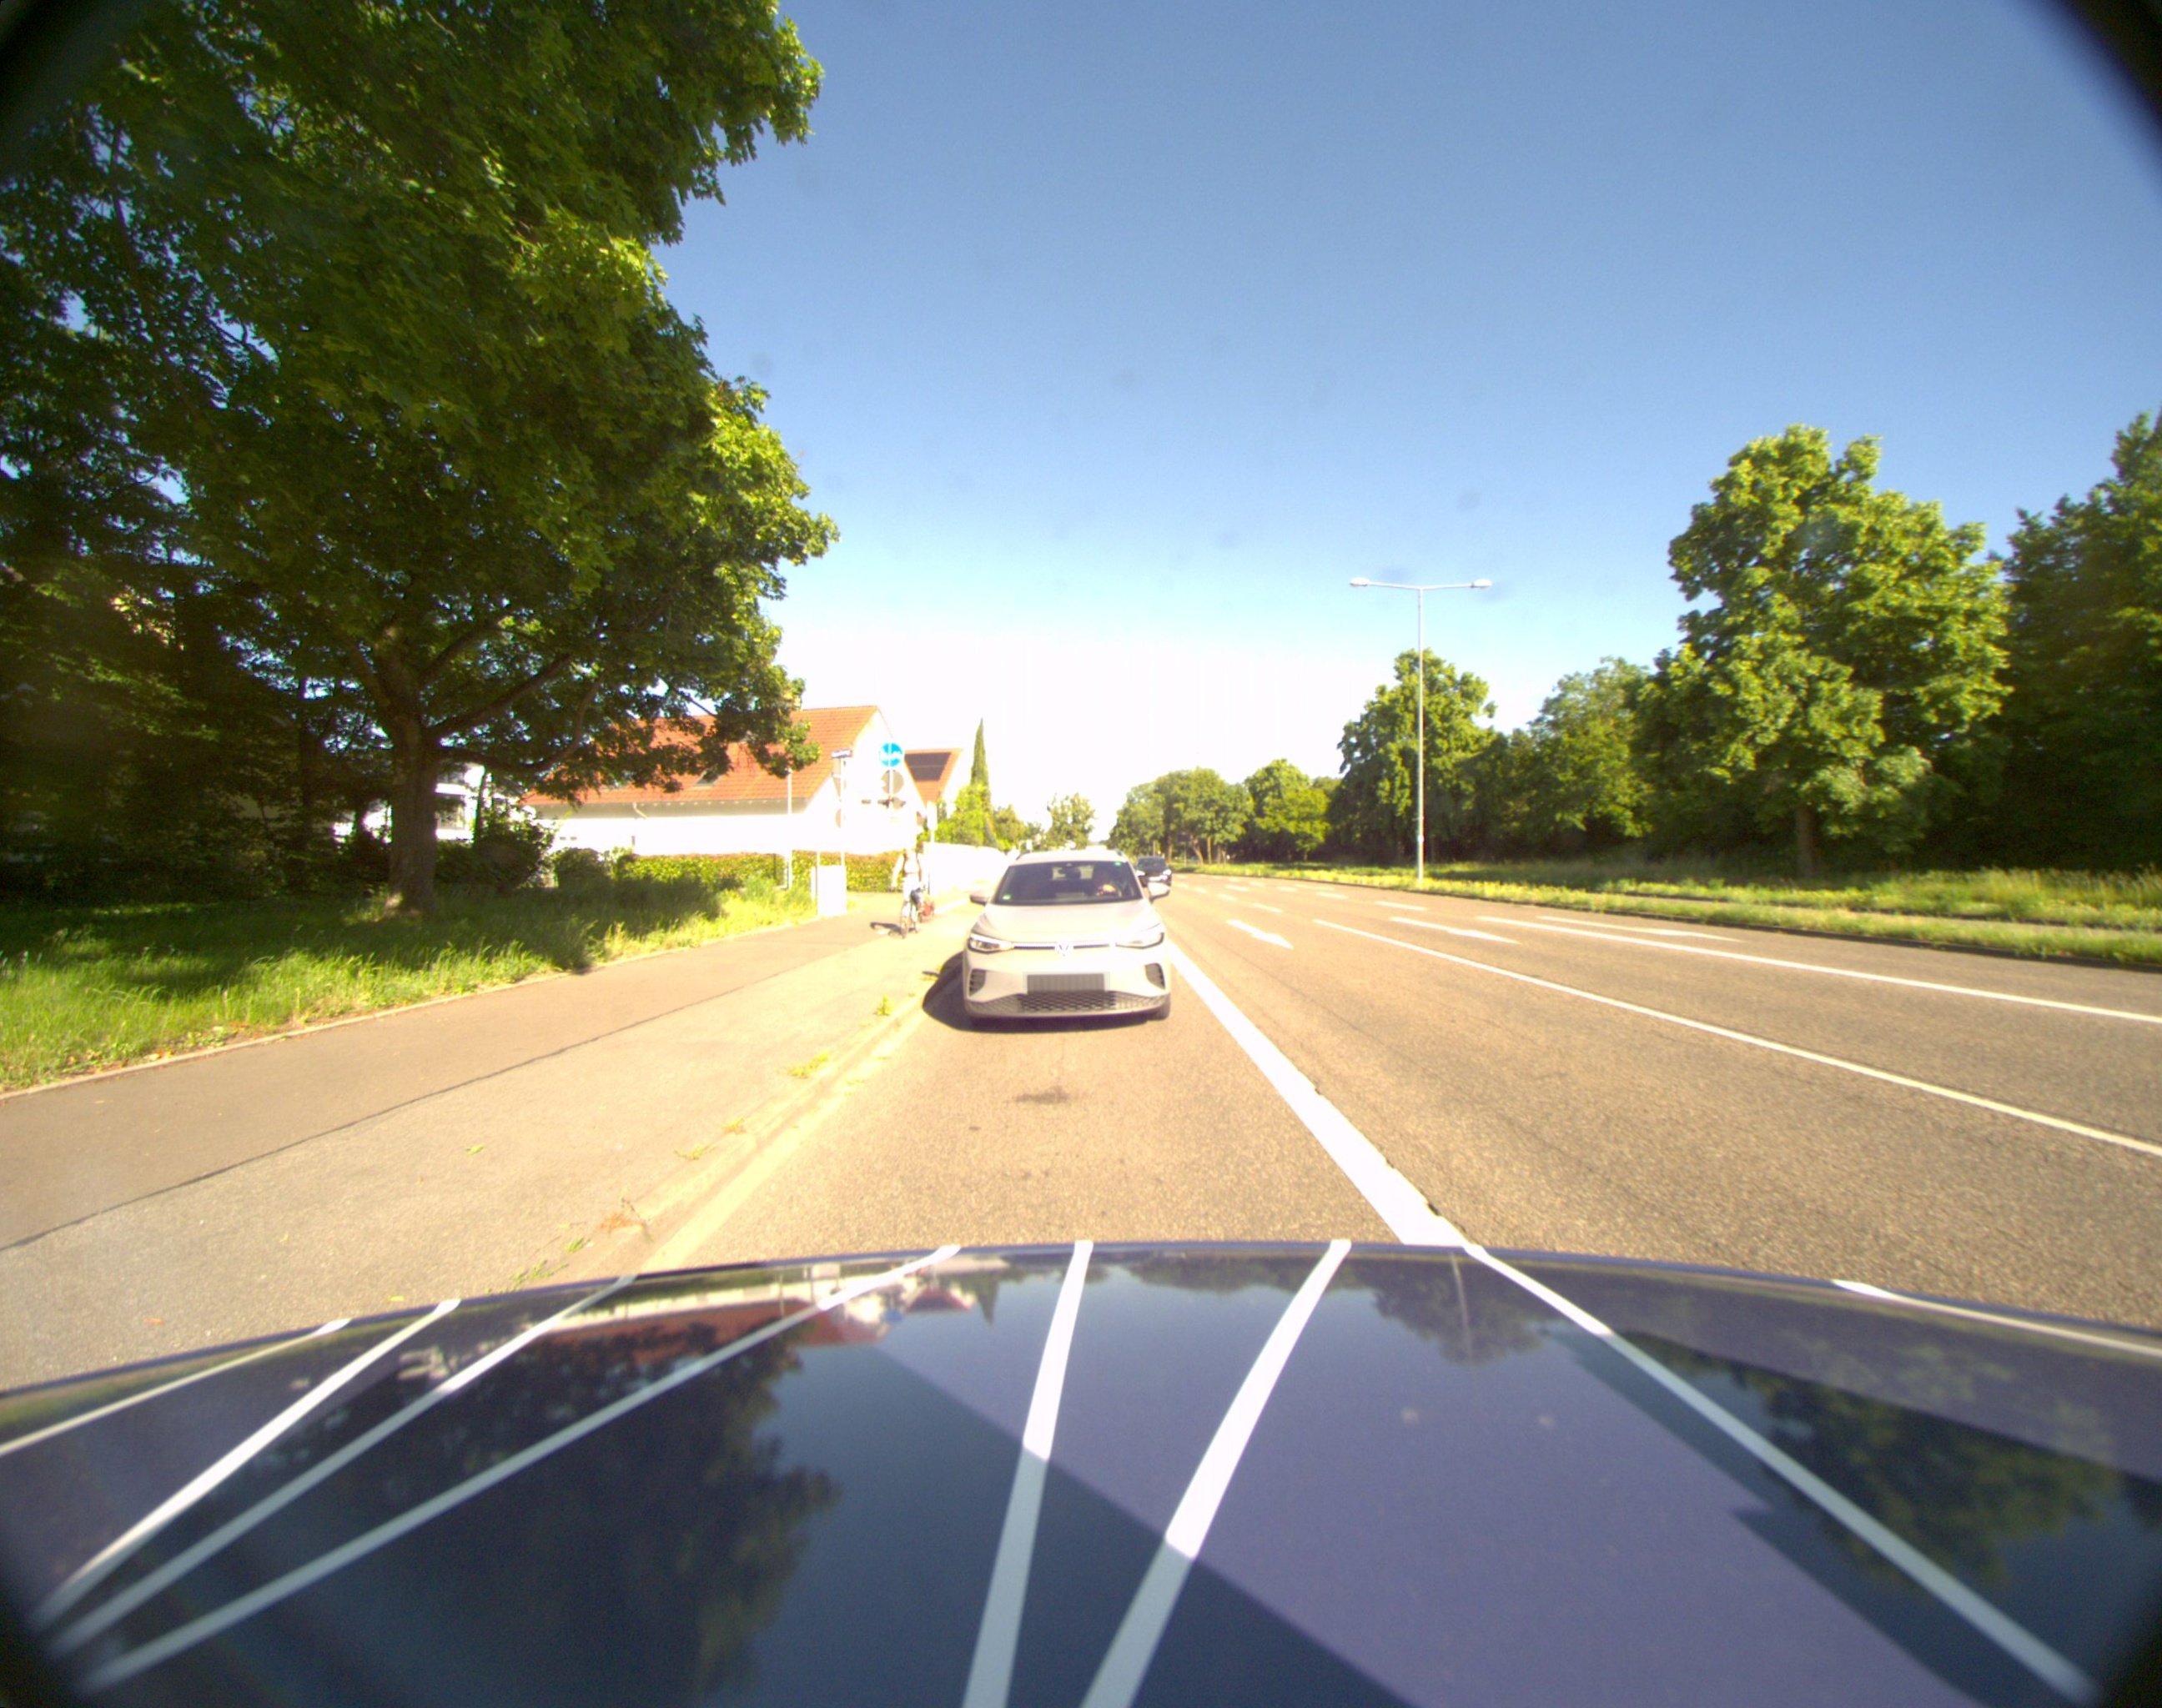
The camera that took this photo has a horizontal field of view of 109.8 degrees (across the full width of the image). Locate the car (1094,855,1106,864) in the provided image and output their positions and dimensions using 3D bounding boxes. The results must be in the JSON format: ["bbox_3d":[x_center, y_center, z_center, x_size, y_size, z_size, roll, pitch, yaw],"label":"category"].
[{"bbox_3d":[3.526,1.031,138.322,1.856,1.576,3.998,-2,1,-3],"label":"car"}]

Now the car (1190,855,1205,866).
[{"bbox_3d":[20.332,1.117,132.696,1.917,1.693,4.407,-2,1,1],"label":"car"}]

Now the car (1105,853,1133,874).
[{"bbox_3d":[3.134,0.762,63.231,1.856,1.576,3.998,-2,1,-3],"label":"car"}]

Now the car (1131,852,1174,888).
[{"bbox_3d":[3.535,0.752,38.270,1.766,1.606,4.297,-2,1,1],"label":"car"}]

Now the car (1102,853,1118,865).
[{"bbox_3d":[4.049,0.700,106.485,1.856,1.576,3.998,-2,1,-3],"label":"car"}]

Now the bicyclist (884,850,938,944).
[{"bbox_3d":[-3.067,0.759,13.776,0.631,1.623,0.982,3,0,3],"label":"bicyclist"}]

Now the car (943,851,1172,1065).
[{"bbox_3d":[-0.162,0.829,8.231,1.766,1.606,4.297,-3,1,1],"label":"car"}]

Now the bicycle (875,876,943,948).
[{"bbox_3d":[-3.086,1.006,13.842,0.575,1.148,2.141,3,0,3],"label":"bicycle"}]
